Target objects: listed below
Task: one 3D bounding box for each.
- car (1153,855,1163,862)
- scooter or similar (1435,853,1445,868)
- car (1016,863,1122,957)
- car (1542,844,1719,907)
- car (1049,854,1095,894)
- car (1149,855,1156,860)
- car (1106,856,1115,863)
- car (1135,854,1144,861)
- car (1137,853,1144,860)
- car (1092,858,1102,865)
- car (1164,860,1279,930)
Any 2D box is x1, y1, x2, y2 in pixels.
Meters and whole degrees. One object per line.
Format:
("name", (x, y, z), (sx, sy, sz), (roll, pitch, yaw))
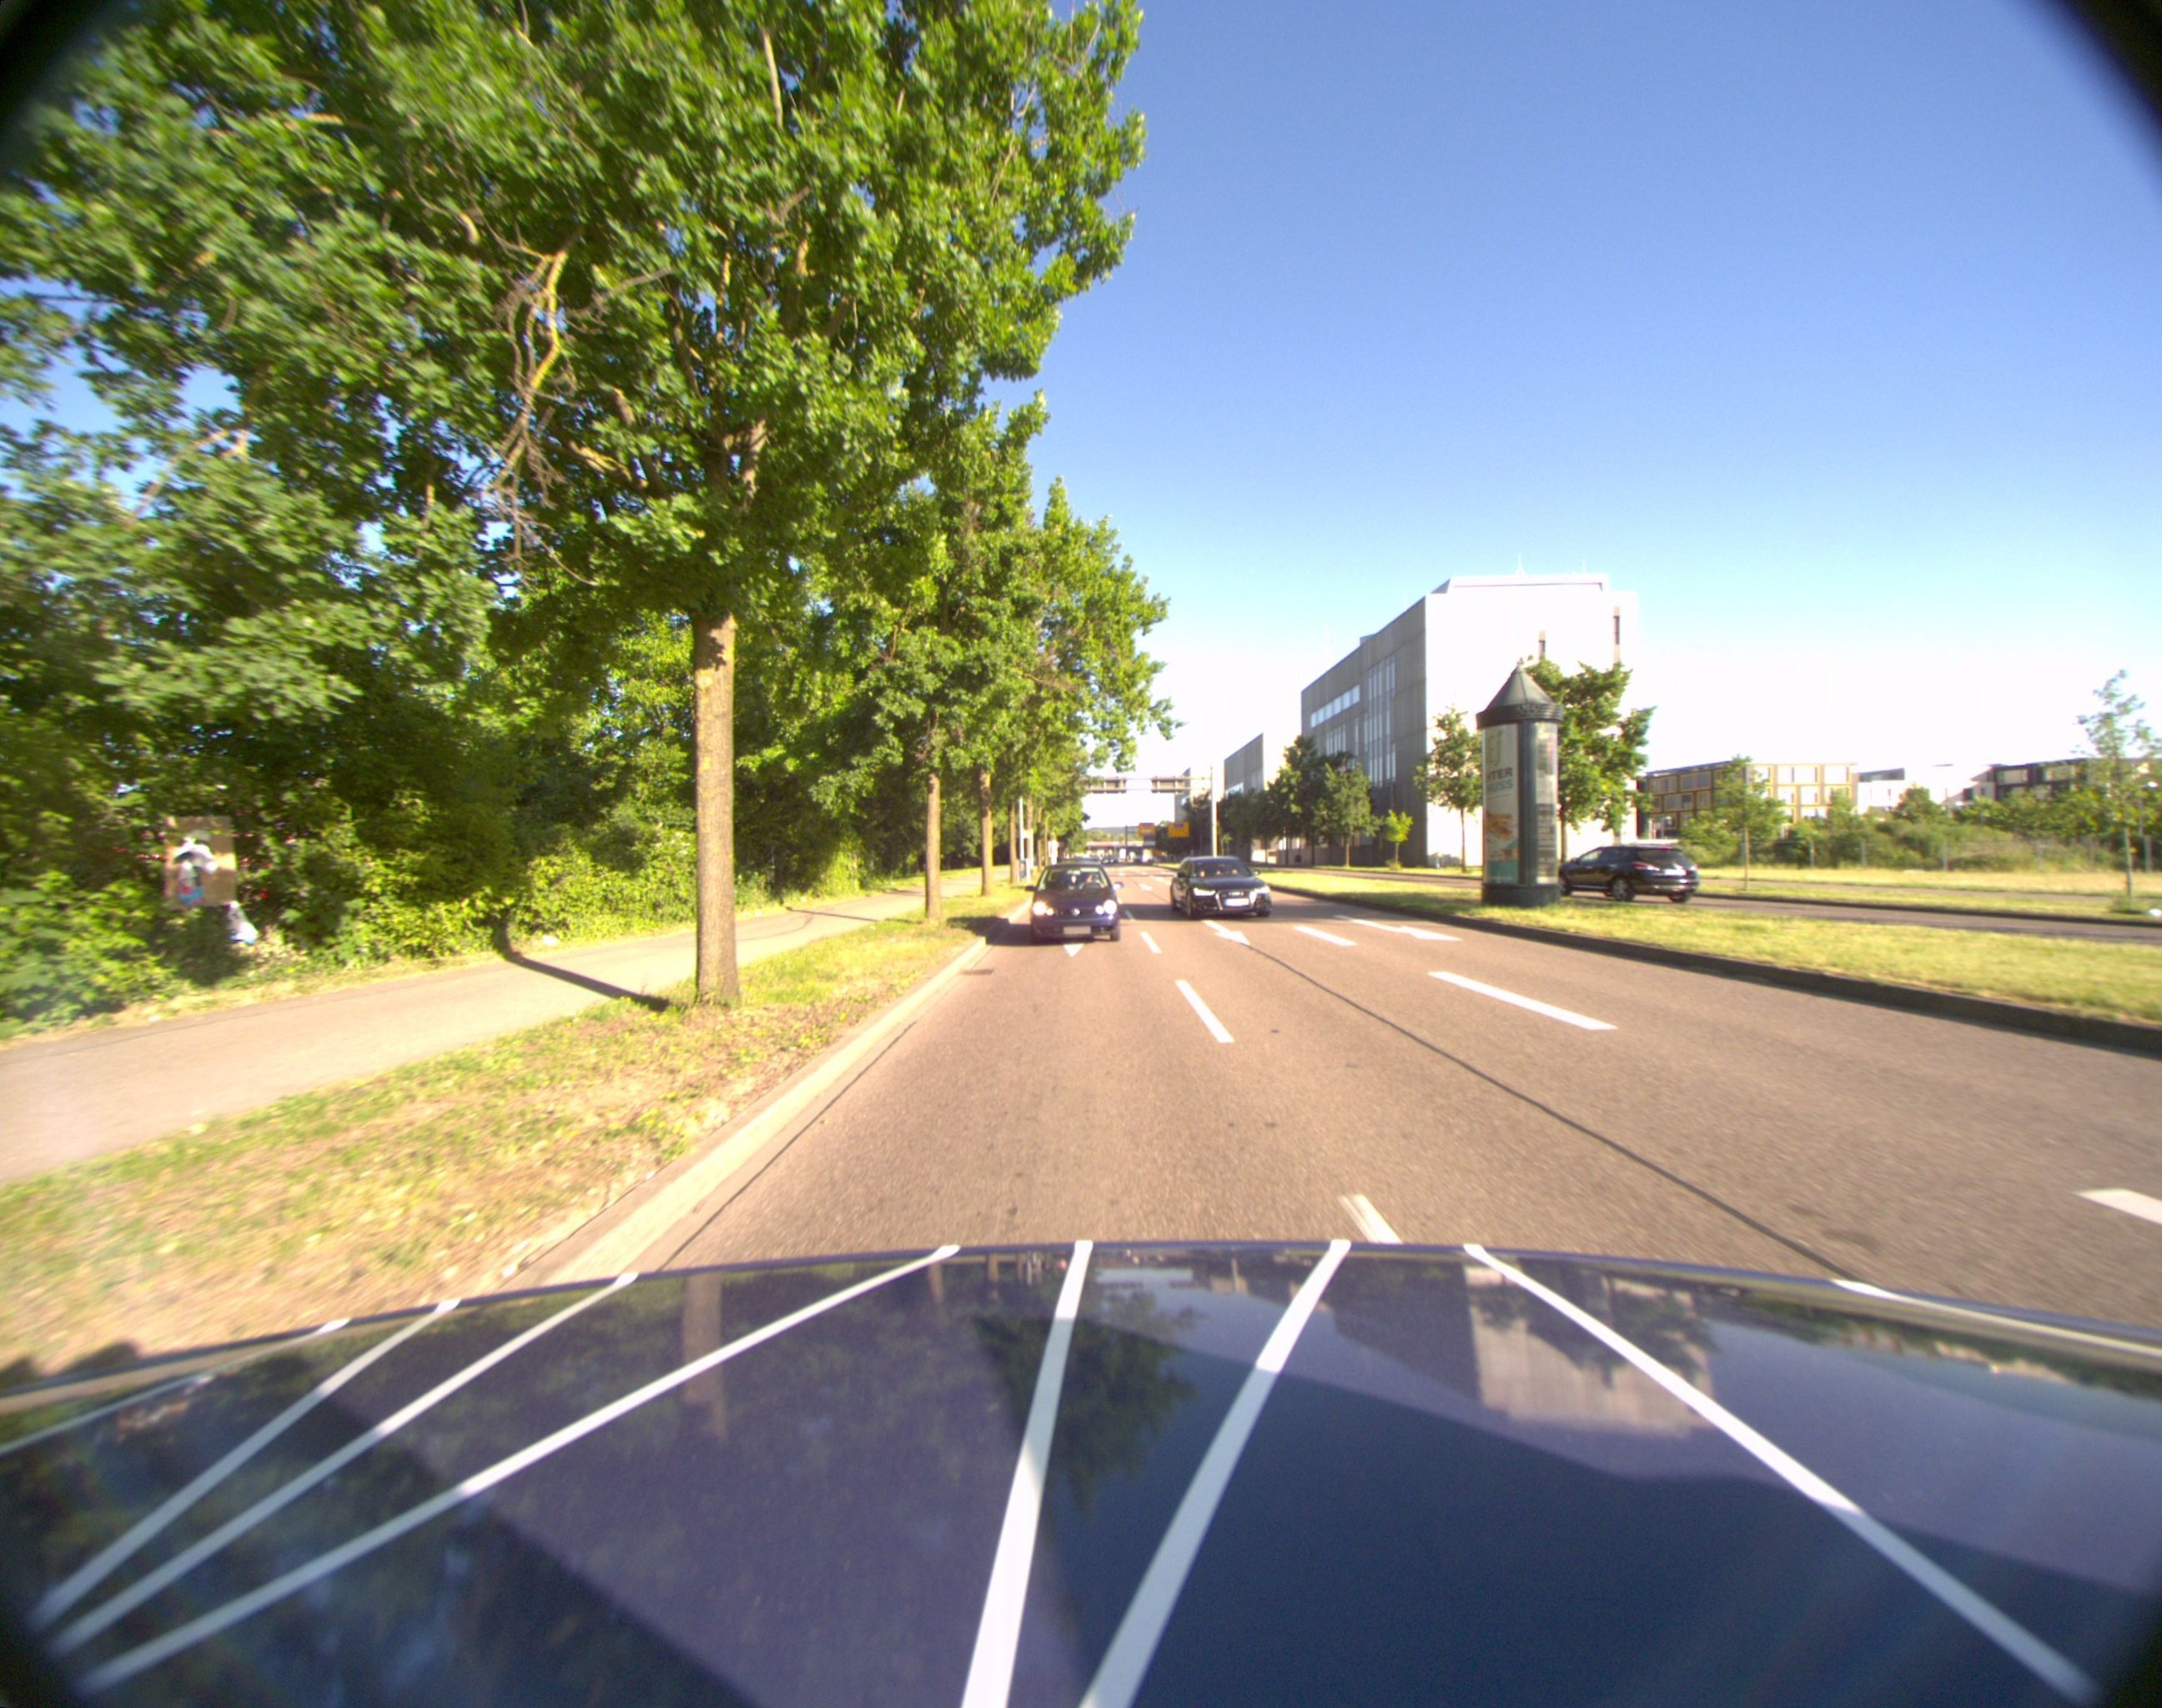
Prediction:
("car", (17.939, 1.024, 176.506), (1.998, 1.569, 4.000), (-1, 0, 1))
("scooter or similar", (27.033, 0.511, 57.211), (0.453, 1.104, 1.407), (0, 1, 14))
("car", (-0.087, 0.995, 15.355), (1.636, 1.459, 4.547), (-2, 1, 5))
("car", (16.650, 0.583, 23.401), (1.998, 1.729, 4.737), (-1, 1, 0))
("car", (-0.351, 0.788, 32.140), (1.757, 1.446, 3.999), (-3, 1, 1))
("car", (21.790, 1.094, 231.897), (1.998, 1.582, 4.000), (-1, 0, 1))
("car", (6.951, 1.331, 180.423), (1.998, 1.678, 4.001), (0, 0, 4))
("car", (15.072, 0.923, 197.135), (1.998, 1.569, 4.000), (-1, 0, 1))
("car", (18.296, 0.780, 233.295), (1.998, 2.172, 4.000), (-1, 0, 1))
("car", (3.782, 1.824, 179.266), (1.998, 1.678, 4.001), (0, 0, 4))
("car", (3.344, 0.904, 19.069), (1.797, 1.435, 5.016), (-1, 0, -2))
